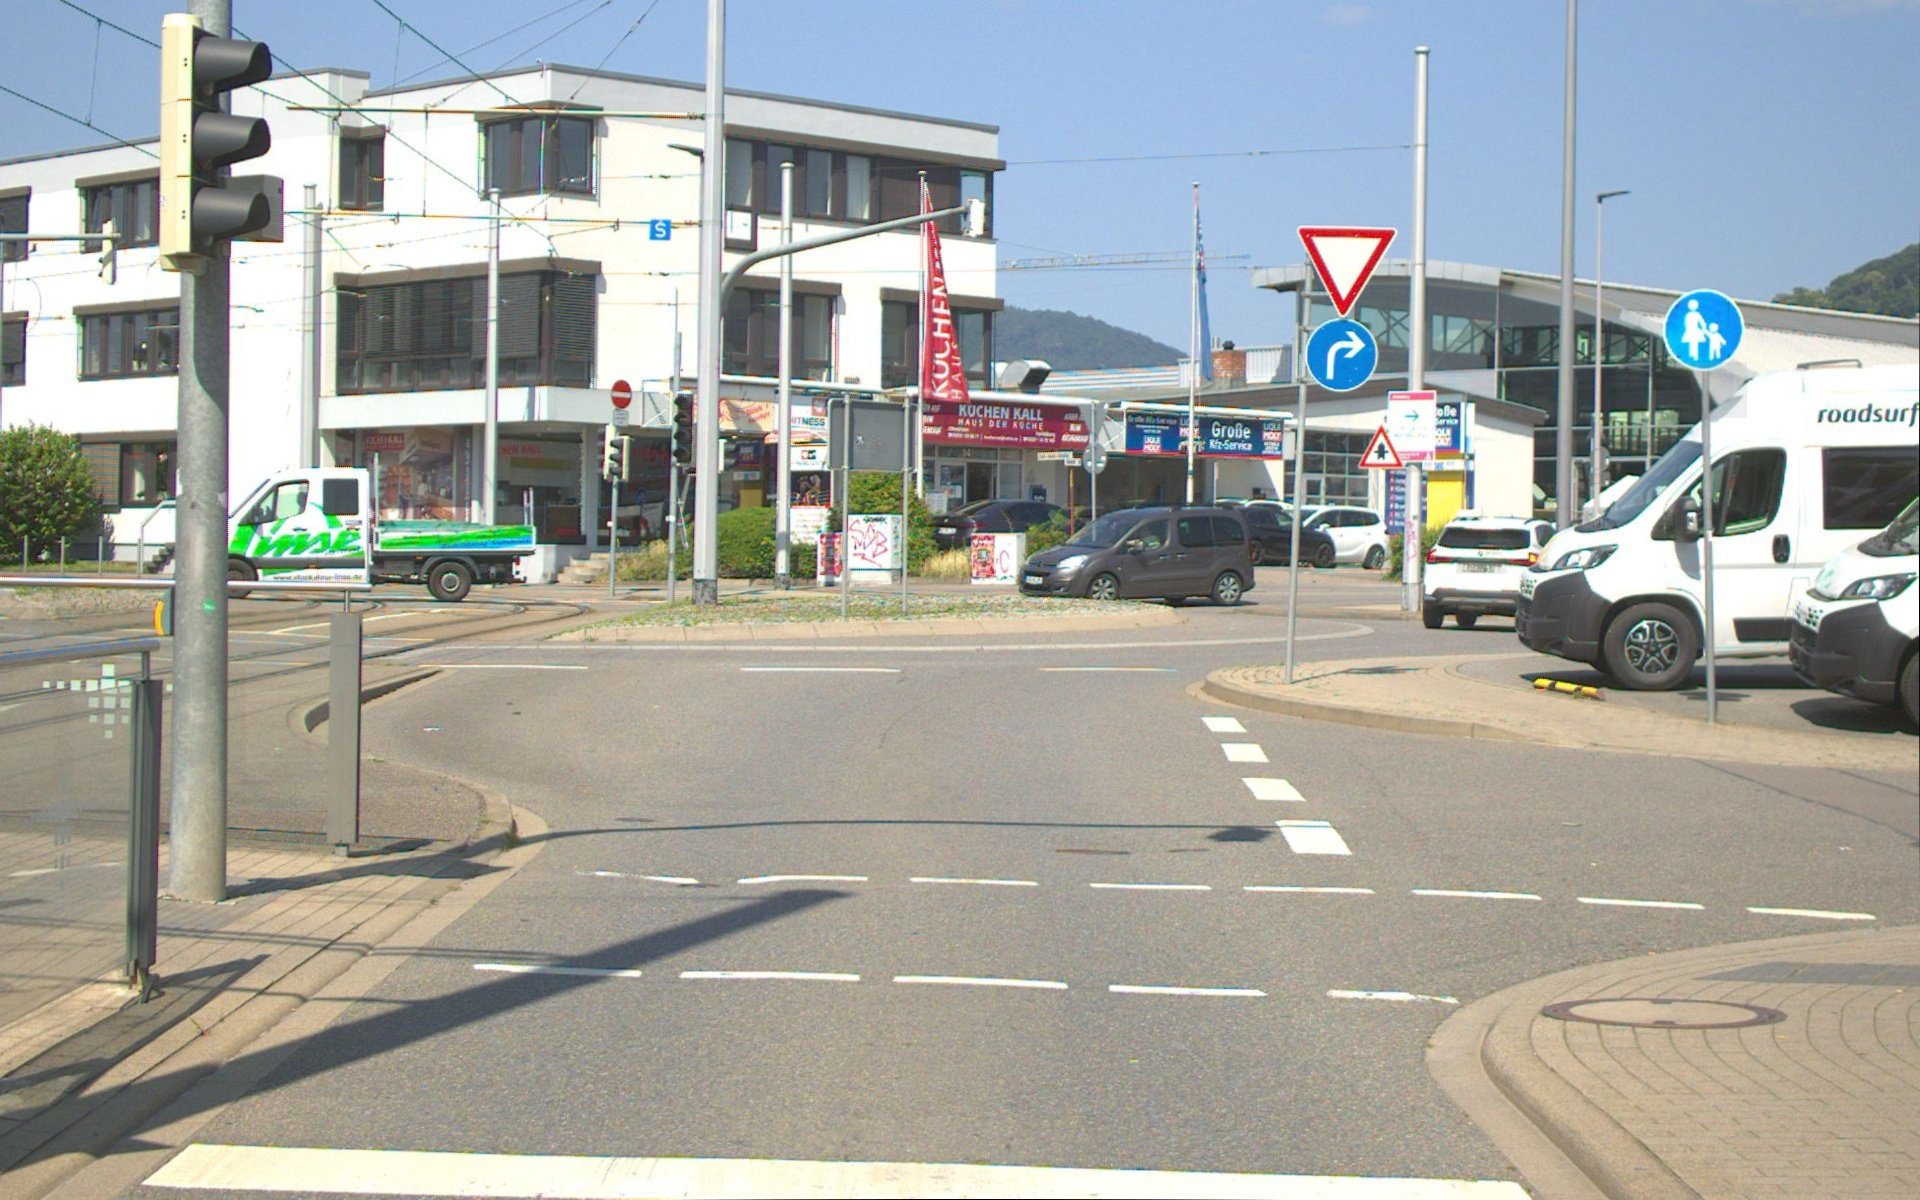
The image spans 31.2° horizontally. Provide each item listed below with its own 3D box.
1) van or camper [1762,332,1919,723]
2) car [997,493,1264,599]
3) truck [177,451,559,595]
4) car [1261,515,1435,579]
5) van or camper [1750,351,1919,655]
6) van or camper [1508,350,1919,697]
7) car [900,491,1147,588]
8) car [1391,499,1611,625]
[{"bbox_3d":[8.989,-0.507,25.644,5.507,2.804,2.048,2,3,4],"label":"van or camper"},{"bbox_3d":[3.077,-0.968,61.868,4.394,1.812,1.990,1,1,-31],"label":"car"},{"bbox_3d":[-10.238,-1.330,59.664,6.367,2.329,2.210,1,1,-9],"label":"truck"},{"bbox_3d":[10.045,-1.339,88.754,1.885,1.583,4.915,0,0,43],"label":"car"},{"bbox_3d":[11.729,-0.984,34.452,7.061,2.936,2.335,-1,1,1],"label":"van or camper"},{"bbox_3d":[7.615,-0.643,28.615,5.811,2.764,2.091,1,2,3],"label":"van or camper"},{"bbox_3d":[1.375,-1.258,72.308,5.266,1.959,1.965,0,2,-43],"label":"car"},{"bbox_3d":[7.884,-0.554,49.778,1.996,1.727,4.558,0,1,24],"label":"car"}]
